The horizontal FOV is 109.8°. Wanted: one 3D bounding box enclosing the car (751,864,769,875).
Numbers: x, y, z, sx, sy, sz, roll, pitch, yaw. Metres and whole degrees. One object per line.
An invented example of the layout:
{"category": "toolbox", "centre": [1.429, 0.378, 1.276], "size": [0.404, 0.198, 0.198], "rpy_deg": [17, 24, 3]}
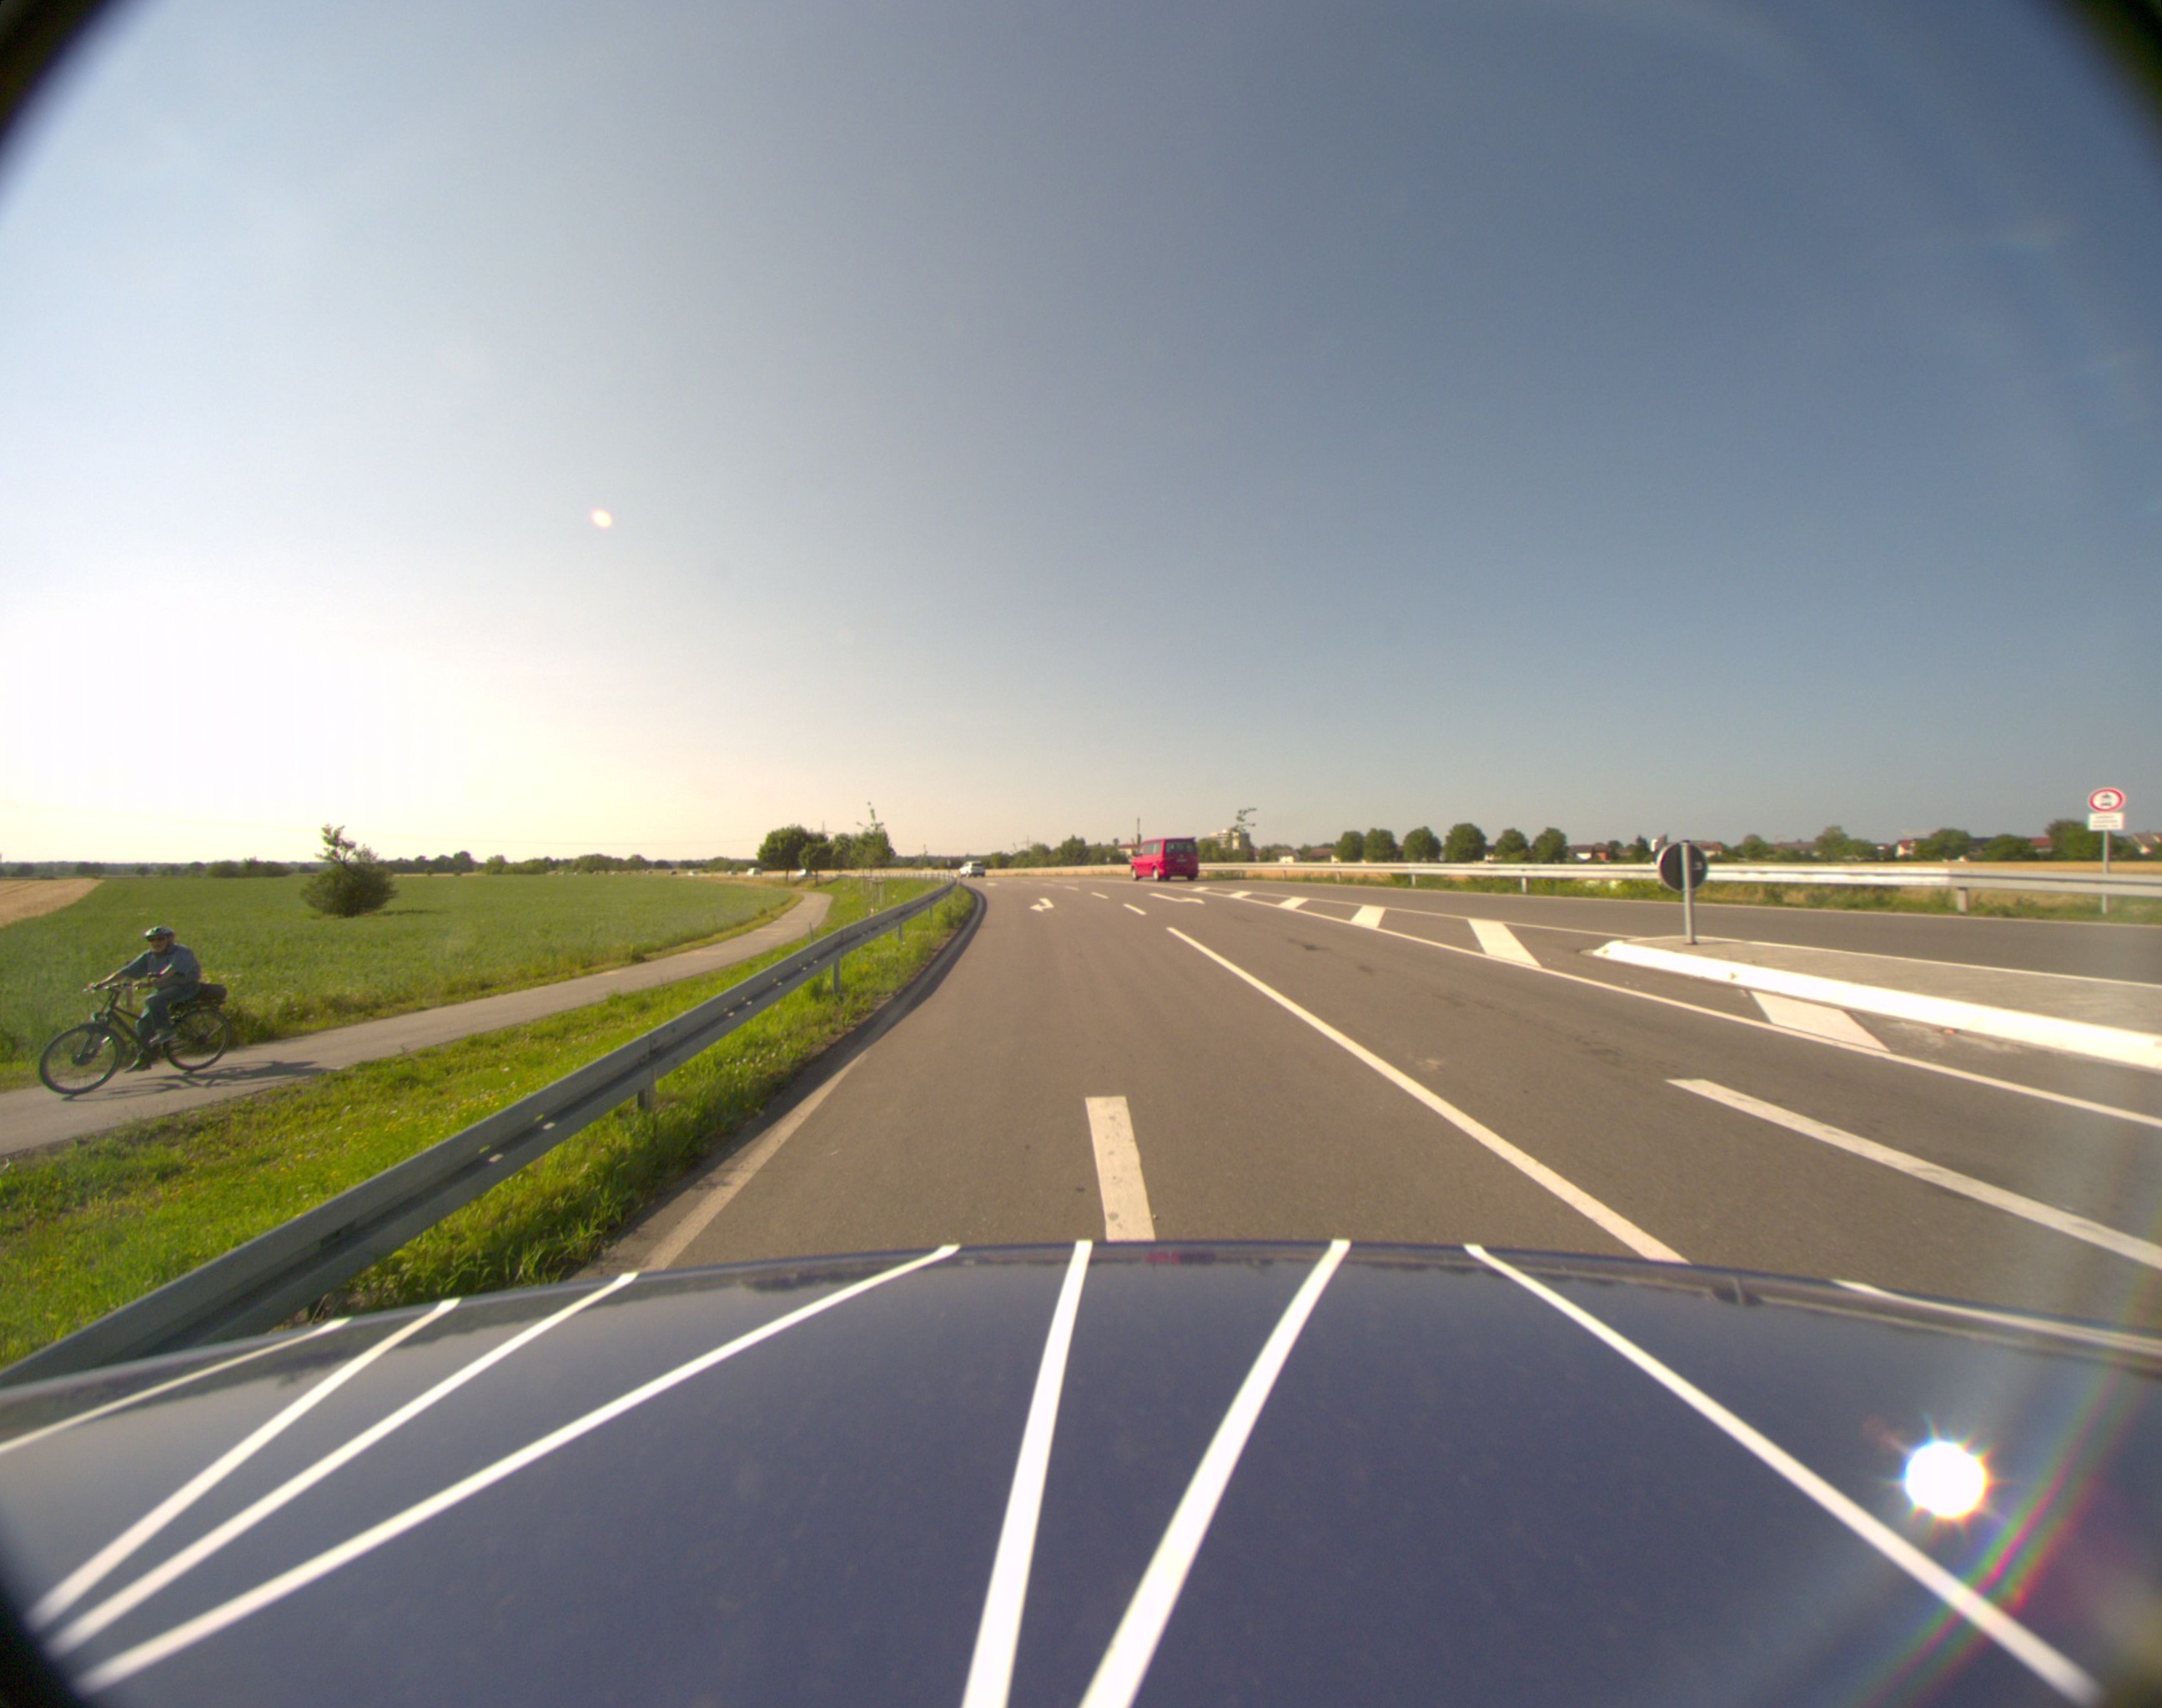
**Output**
{"category": "car", "centre": [-70.375, 3.375, 166.633], "size": [2.126, 2.001, 5.142], "rpy_deg": [-2, -2, -39]}

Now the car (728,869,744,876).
{"category": "car", "centre": [-80.464, 4.357, 177.257], "size": [4.694, 1.439, 1.804], "rpy_deg": [-5, -3, 45]}

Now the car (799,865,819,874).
{"category": "car", "centre": [-51.375, 2.964, 143.391], "size": [2.126, 1.484, 5.141], "rpy_deg": [-2, -2, -38]}

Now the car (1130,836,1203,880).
{"category": "car", "centre": [3.978, 0.210, 36.140], "size": [1.840, 1.929, 4.921], "rpy_deg": [-1, -1, -13]}

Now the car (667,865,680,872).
{"category": "car", "centre": [-117.123, 4.150, 218.187], "size": [2.004, 1.583, 4.851], "rpy_deg": [-2, -3, -43]}

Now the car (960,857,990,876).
{"category": "car", "centre": [-11.245, 1.287, 80.308], "size": [1.699, 1.664, 4.851], "rpy_deg": [-2, 4, -25]}
